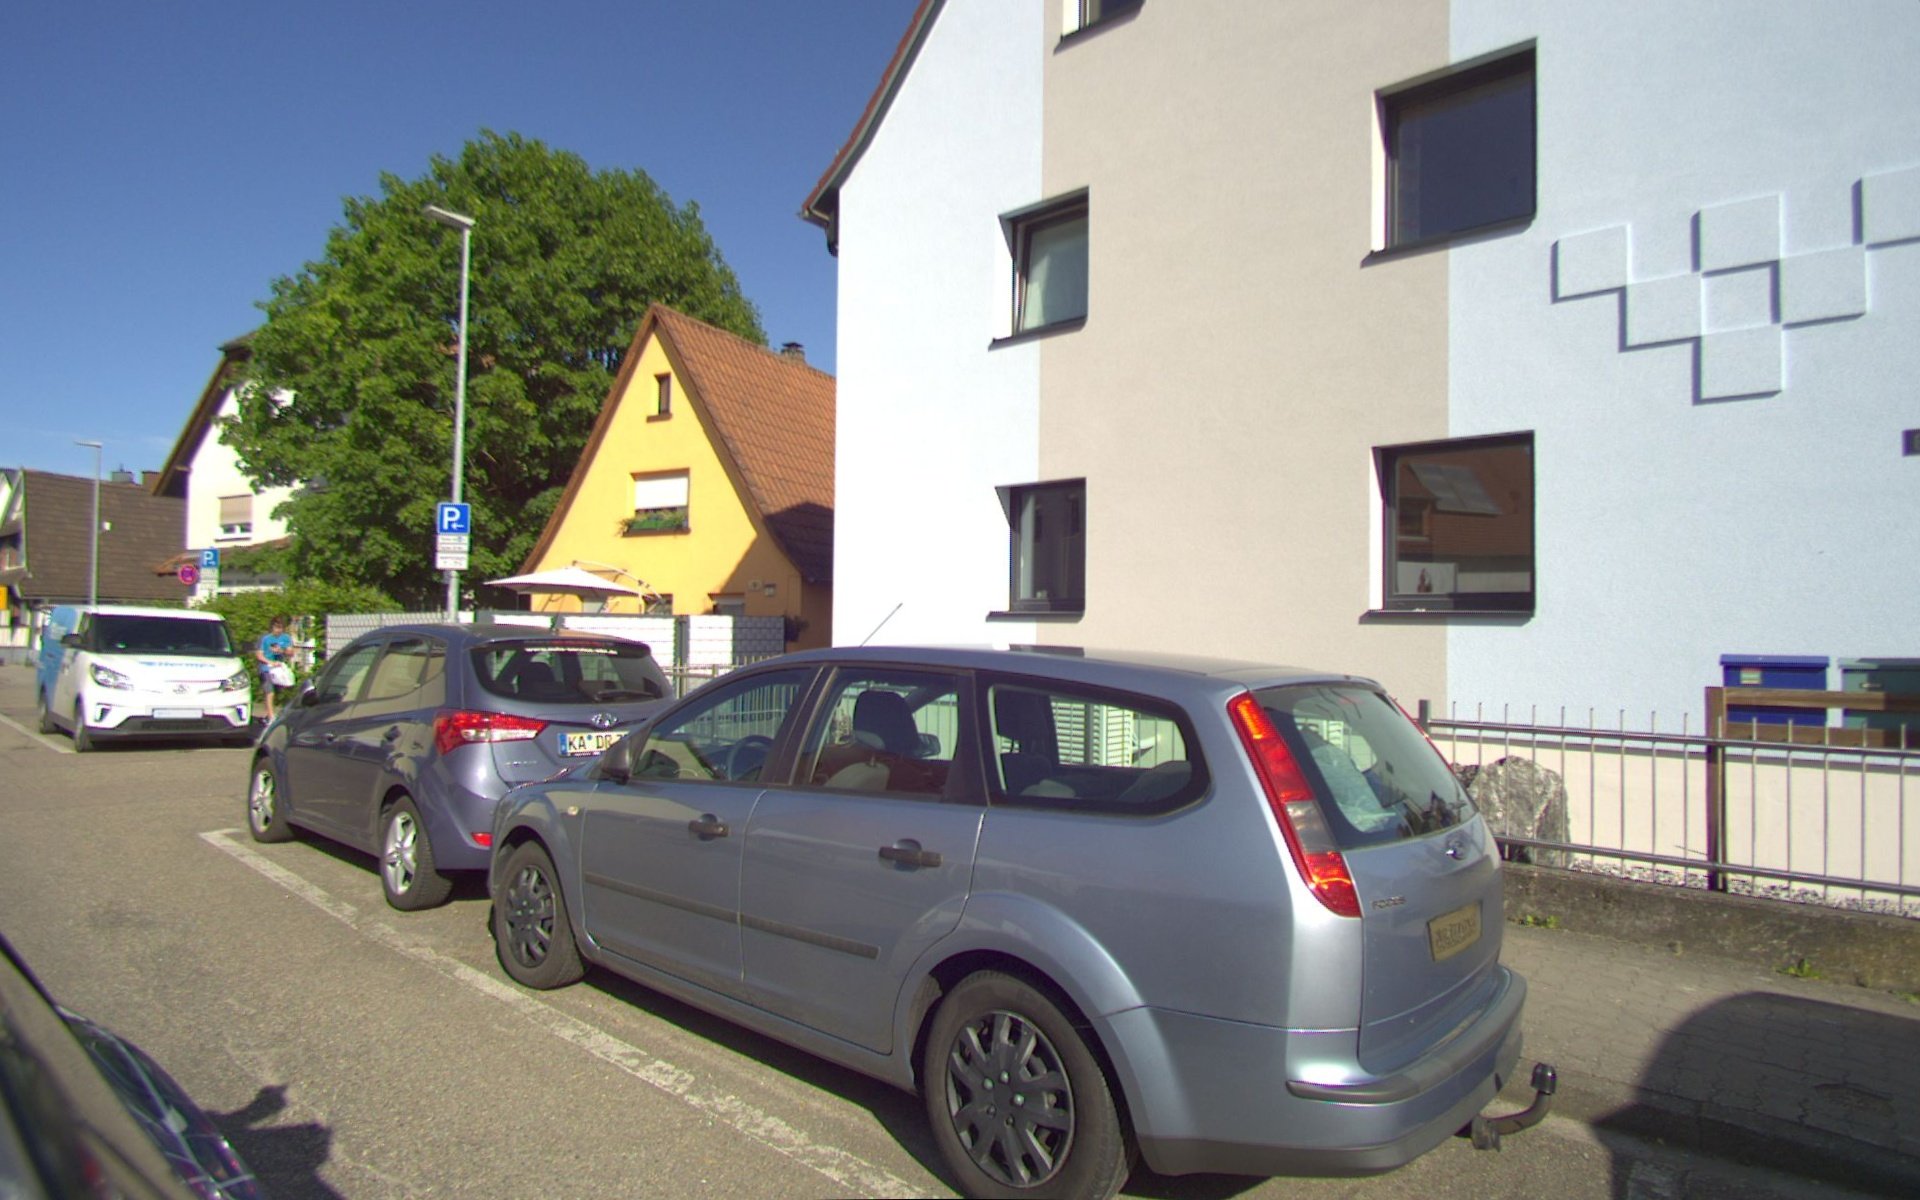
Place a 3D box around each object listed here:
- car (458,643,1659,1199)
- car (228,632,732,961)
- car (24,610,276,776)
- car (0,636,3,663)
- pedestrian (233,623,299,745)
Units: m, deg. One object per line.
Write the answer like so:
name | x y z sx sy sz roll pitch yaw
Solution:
car | -0.072 0.942 3.772 4.233 1.516 1.693 -2 -4 41
car | -3.451 1.040 6.951 3.923 1.611 1.696 -2 -3 41
car | -11.529 1.173 14.256 5.068 1.932 1.882 -2 -3 42
car | -54.897 2.735 55.745 4.149 1.456 1.681 -1 -1 23
pedestrian | -10.353 1.222 15.101 0.883 1.762 0.610 -2 -2 41
